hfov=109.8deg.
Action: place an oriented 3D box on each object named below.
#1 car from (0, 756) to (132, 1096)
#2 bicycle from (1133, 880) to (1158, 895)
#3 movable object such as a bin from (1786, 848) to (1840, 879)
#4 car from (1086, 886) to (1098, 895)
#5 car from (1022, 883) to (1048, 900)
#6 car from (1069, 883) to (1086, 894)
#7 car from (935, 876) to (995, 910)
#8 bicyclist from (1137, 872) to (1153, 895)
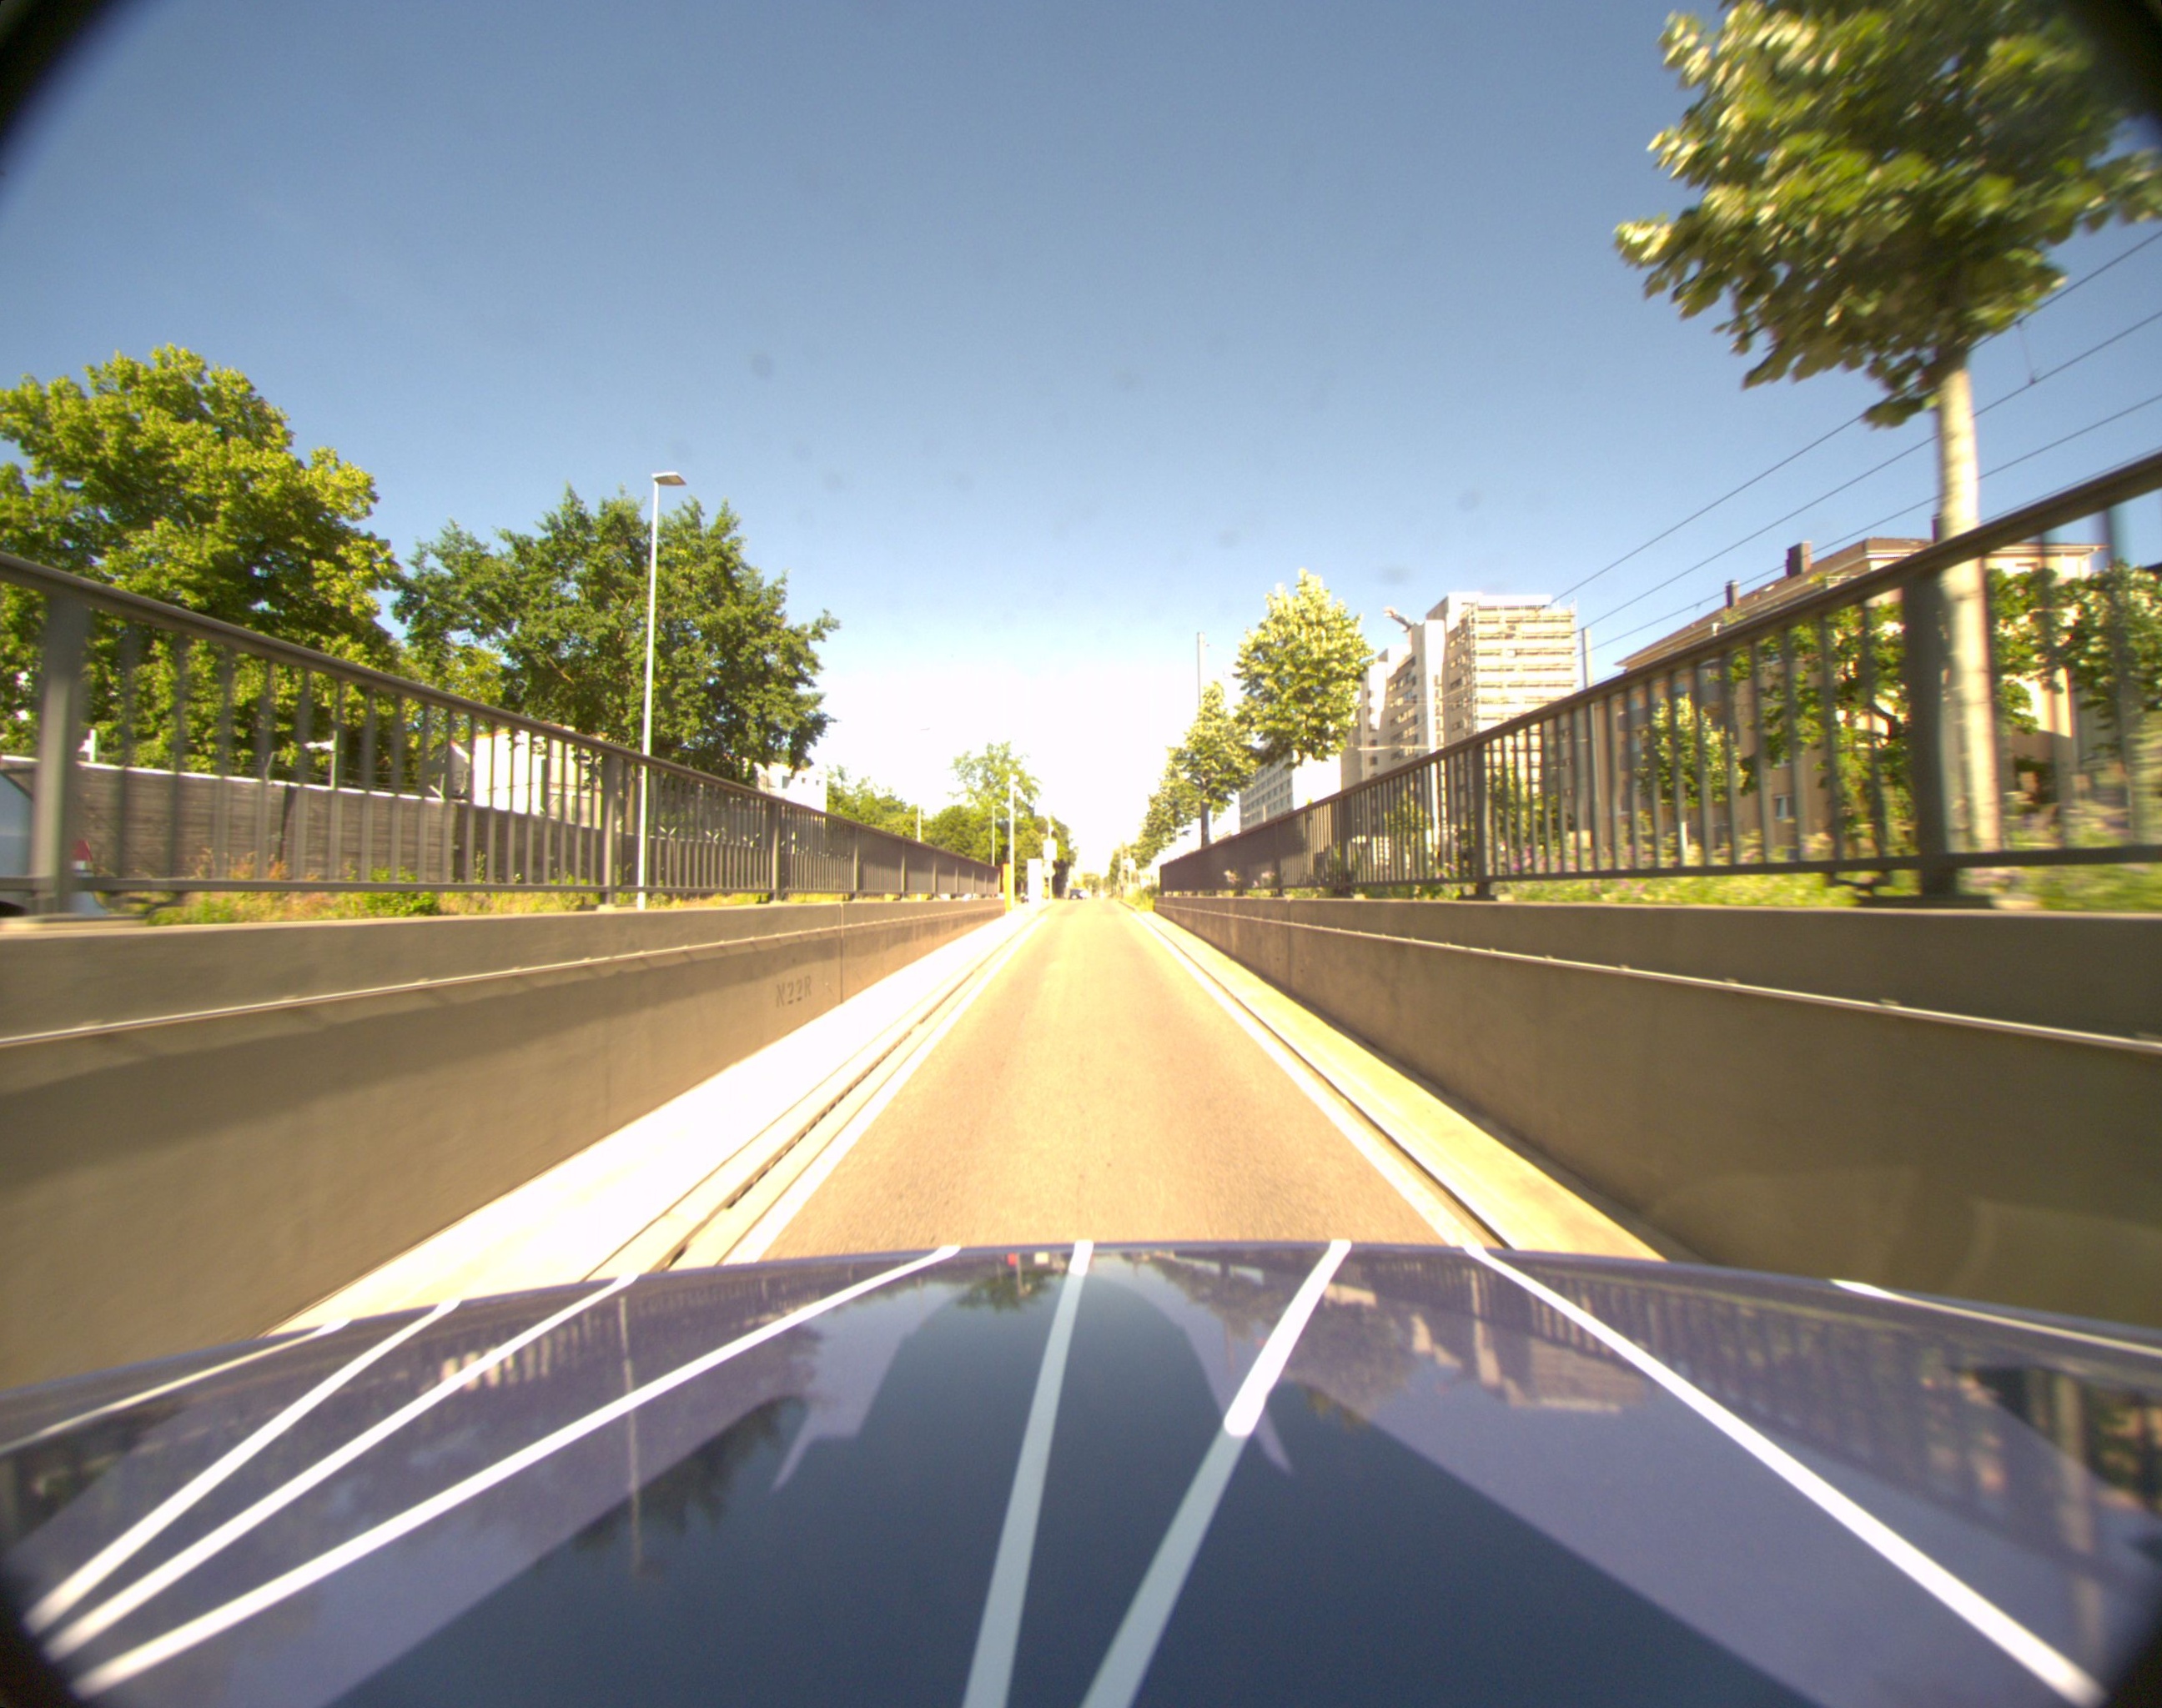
[{"bbox_3d":[-5.355,0.271,1.633,1.671,1.426,3.974,-2,-2,-1],"label":"car"},{"bbox_3d":[4.656,2.452,55.217,0.726,1.049,1.978,-1,-1,-33],"label":"bicycle"},{"bbox_3d":[35.199,0.482,36.581,1.266,1.391,1.327,-2,-2,5],"label":"movable object such as a bin"},{"bbox_3d":[1.728,5.568,116.913,1.829,1.327,4.002,-1,-2,2],"label":"car"},{"bbox_3d":[-3.831,3.158,64.081,1.829,1.327,4.002,-1,-2,2],"label":"car"},{"bbox_3d":[-0.376,4.127,91.192,1.829,1.327,4.002,-1,-2,2],"label":"car"},{"bbox_3d":[-5.114,1.732,34.065,1.837,1.392,4.302,-1,-2,3],"label":"car"},{"bbox_3d":[4.654,2.148,55.205,0.861,1.676,0.818,0,-2,-33],"label":"bicyclist"}]
